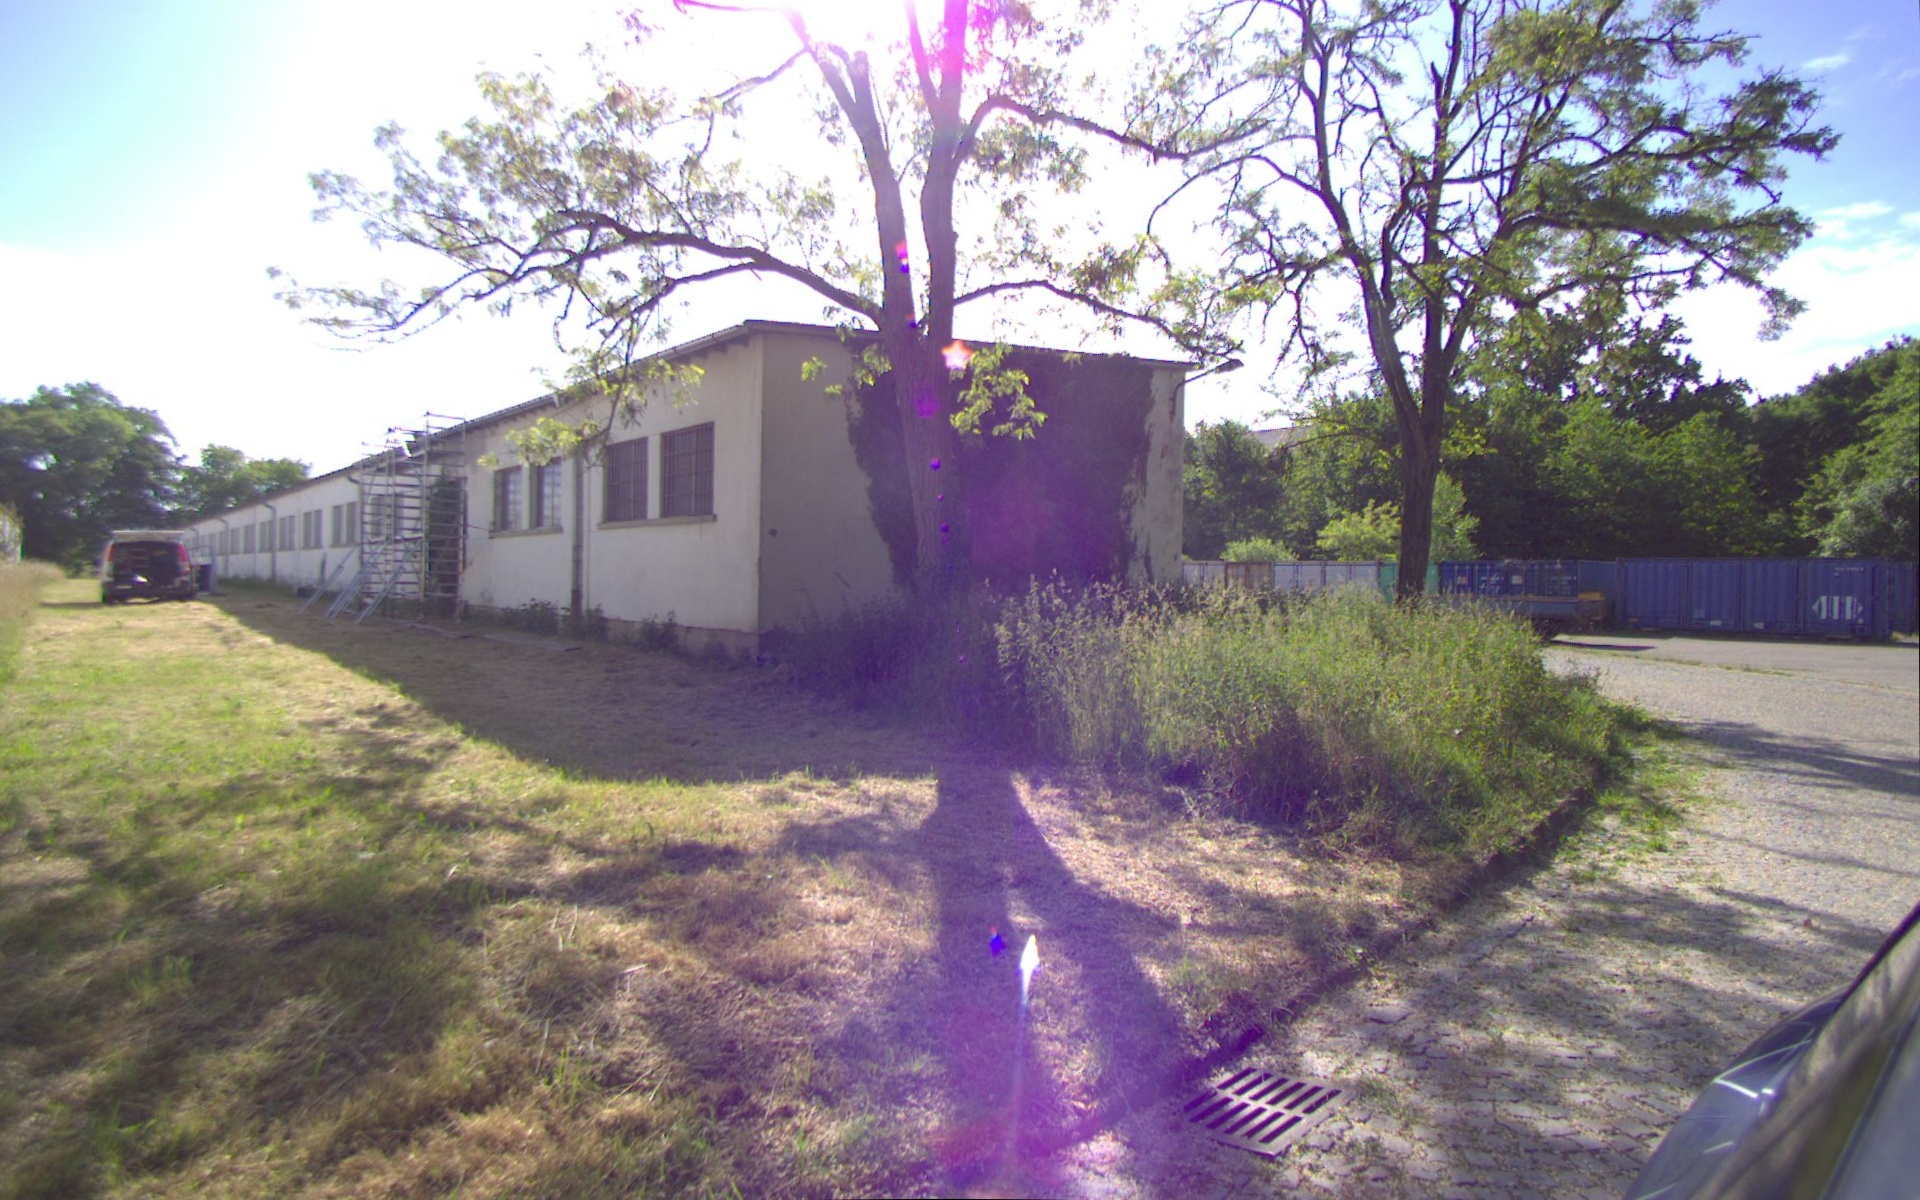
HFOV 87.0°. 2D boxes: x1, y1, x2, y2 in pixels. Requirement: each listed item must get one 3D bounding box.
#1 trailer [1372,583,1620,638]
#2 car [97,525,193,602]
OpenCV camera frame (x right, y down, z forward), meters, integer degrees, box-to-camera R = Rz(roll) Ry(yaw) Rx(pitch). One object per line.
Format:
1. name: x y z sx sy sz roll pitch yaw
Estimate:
1. trailer: 16.953 0.238 32.351 2.807 1.536 6.481 -2 2 -42
2. car: -23.361 -1.019 28.959 1.966 2.039 3.993 0 1 -42
